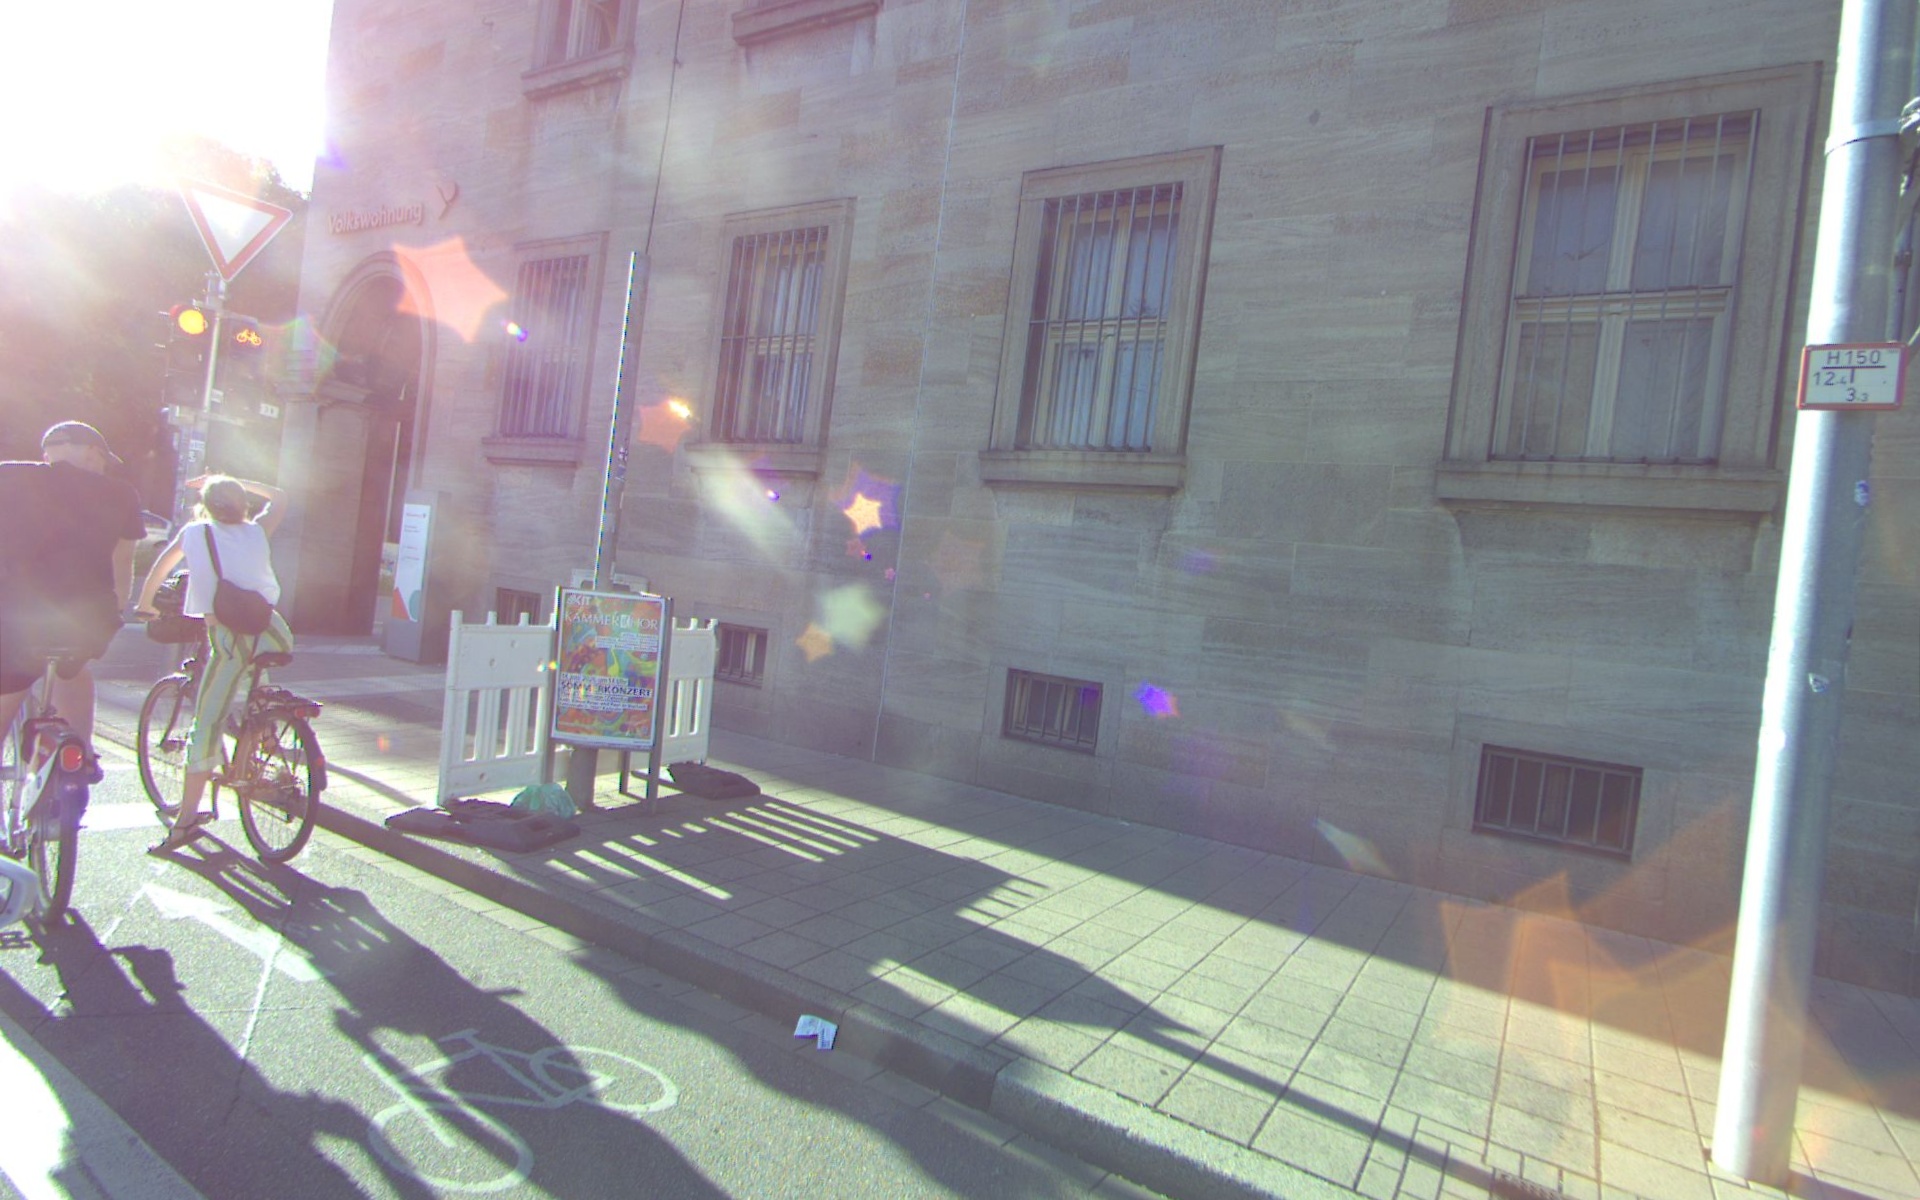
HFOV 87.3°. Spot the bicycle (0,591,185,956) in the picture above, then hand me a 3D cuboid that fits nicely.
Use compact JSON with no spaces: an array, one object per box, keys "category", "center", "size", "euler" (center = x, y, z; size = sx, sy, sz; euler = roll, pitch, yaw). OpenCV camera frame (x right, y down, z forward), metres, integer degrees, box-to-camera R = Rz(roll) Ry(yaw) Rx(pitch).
[{"category":"bicycle","center":[-3.734,0.571,3.923],"size":[1.700,1.090,0.516],"euler":[7,-1,34]}]

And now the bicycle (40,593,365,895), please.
[{"category":"bicycle","center":[-3.678,0.618,4.840],"size":[1.721,1.090,0.535],"euler":[7,-1,31]}]

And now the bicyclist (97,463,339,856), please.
[{"category":"bicyclist","center":[-3.532,0.262,4.802],"size":[0.629,1.711,0.558],"euler":[7,-1,30]}]

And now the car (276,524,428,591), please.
[{"category":"car","center":[-19.837,-1.343,32.968],"size":[1.623,1.630,3.854],"euler":[7,-1,31]}]

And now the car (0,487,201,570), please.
[{"category":"car","center":[-23.333,-1.890,27.253],"size":[1.623,1.630,3.999],"euler":[7,-1,31]}]

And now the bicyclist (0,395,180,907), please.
[{"category":"bicyclist","center":[-3.545,0.190,3.852],"size":[0.541,1.820,0.559],"euler":[7,-1,33]}]
